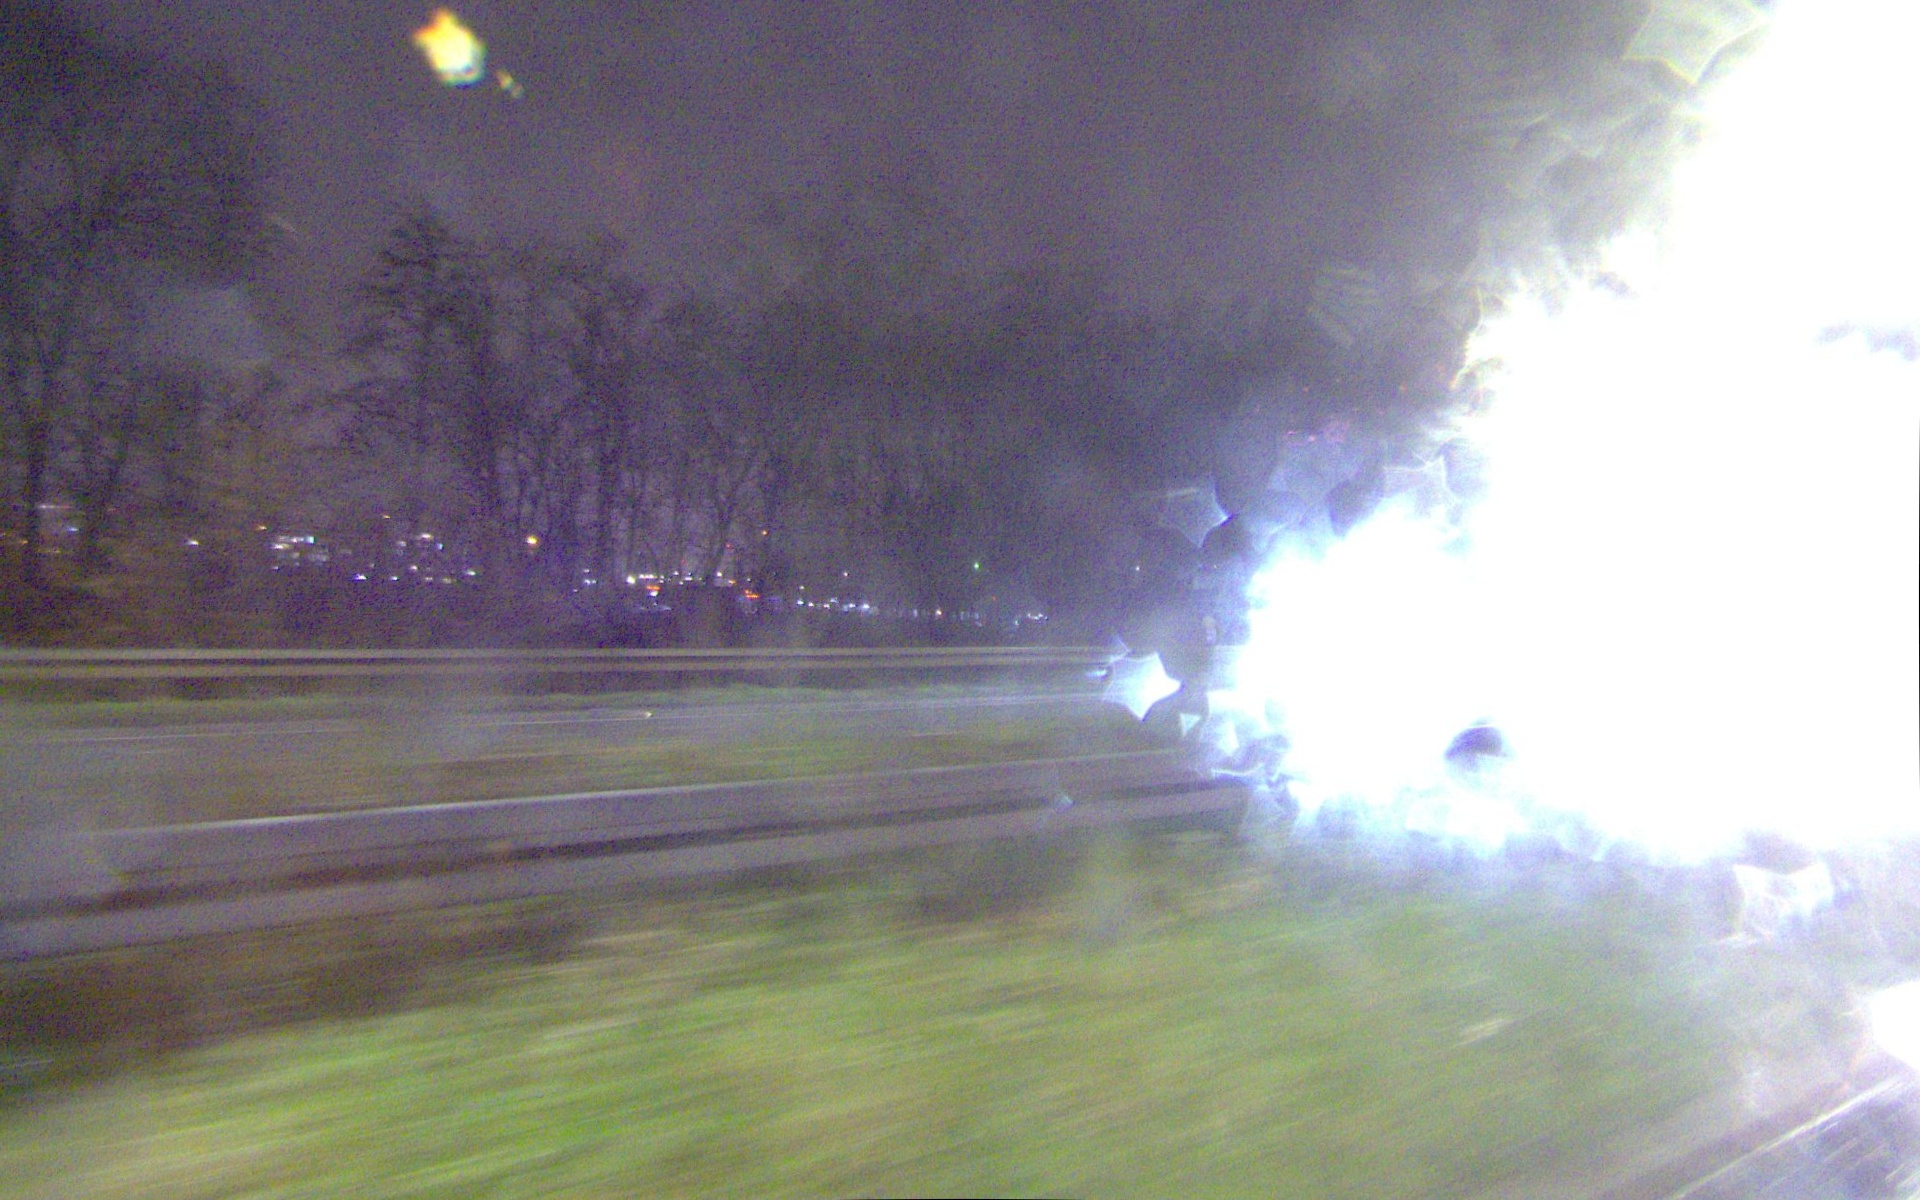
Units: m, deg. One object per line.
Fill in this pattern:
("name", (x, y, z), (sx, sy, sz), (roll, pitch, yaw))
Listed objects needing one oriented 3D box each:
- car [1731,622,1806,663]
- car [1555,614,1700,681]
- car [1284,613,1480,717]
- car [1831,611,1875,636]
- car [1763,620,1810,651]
("car", (31.583, 1.644, 39.203), (3.913, 1.515, 1.718), (2, -3, -43))
("car", (17.666, 1.233, 26.514), (4.517, 1.614, 1.762), (2, -1, -36))
("car", (7.378, 1.030, 17.446), (3.481, 1.592, 1.832), (1, 0, -42))
("car", (65.756, 1.718, 74.039), (1.967, 1.744, 3.986), (3, 0, 36))
("car", (42.732, 1.810, 51.872), (1.769, 1.476, 4.554), (-2, -2, 41))
